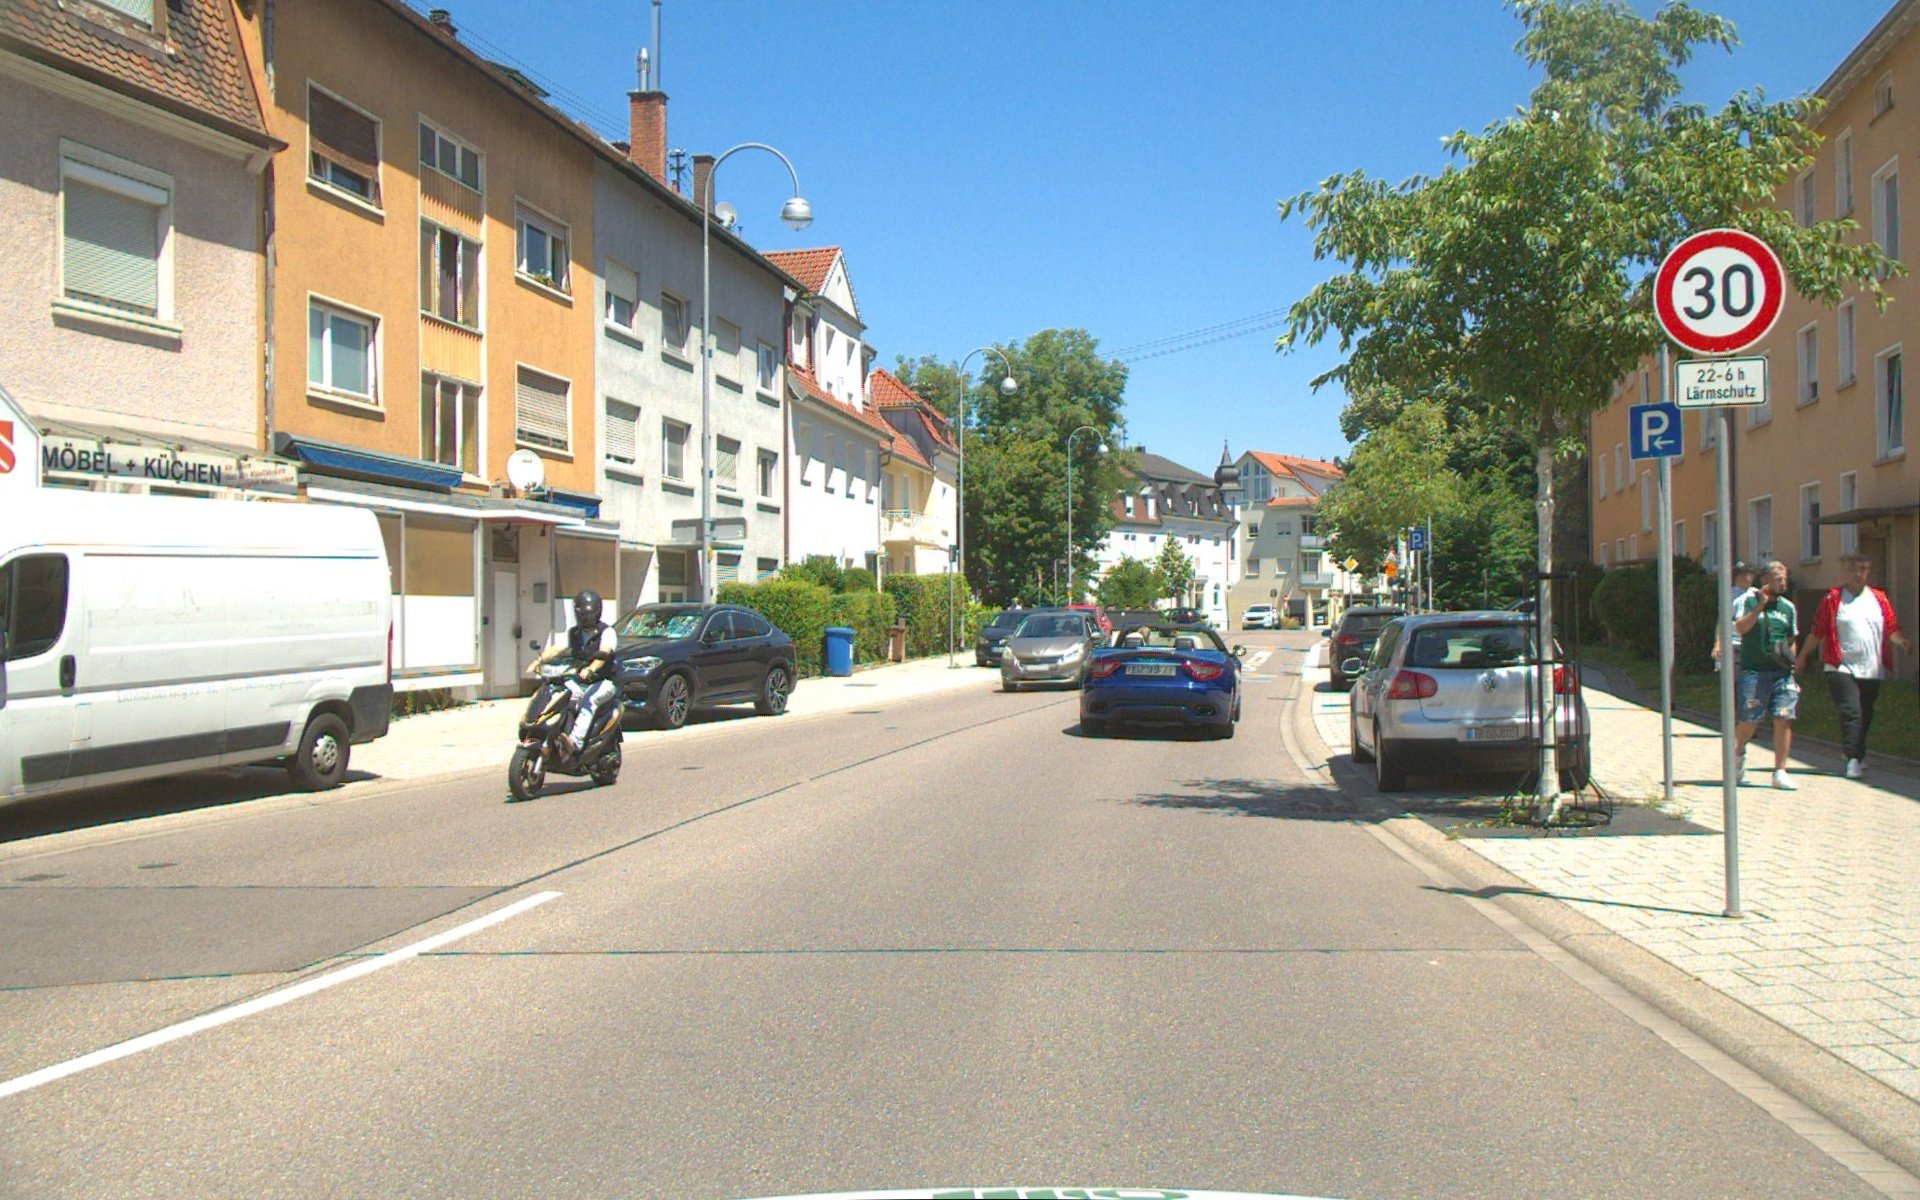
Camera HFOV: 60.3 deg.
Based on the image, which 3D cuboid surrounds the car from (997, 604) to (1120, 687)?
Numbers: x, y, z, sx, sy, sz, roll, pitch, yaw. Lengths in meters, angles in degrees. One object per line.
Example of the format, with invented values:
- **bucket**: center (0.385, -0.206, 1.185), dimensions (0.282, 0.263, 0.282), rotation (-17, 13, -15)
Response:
- **car**: center (1.998, 0.848, 32.456), dimensions (1.694, 1.436, 4.003), rotation (-2, 0, 13)

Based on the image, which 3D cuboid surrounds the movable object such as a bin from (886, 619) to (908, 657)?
- **movable object such as a bin**: center (-1.705, 1.038, 44.940), dimensions (0.457, 1.007, 0.614), rotation (-1, 0, 12)

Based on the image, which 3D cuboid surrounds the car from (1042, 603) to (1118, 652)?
- **car**: center (4.076, 0.880, 55.411), dimensions (1.838, 1.505, 4.742), rotation (2, 0, 13)

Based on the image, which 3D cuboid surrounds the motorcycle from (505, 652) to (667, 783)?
- **motorcycle**: center (-3.218, 0.987, 14.400), dimensions (0.593, 1.018, 1.800), rotation (-1, -1, 15)

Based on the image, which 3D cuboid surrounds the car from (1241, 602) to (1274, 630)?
- **car**: center (18.123, 0.968, 100.562), dimensions (1.837, 1.625, 4.363), rotation (-2, 0, 11)

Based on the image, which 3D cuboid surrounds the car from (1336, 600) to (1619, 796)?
- **car**: center (4.584, 0.819, 15.305), dimensions (1.774, 1.502, 4.510), rotation (-2, -1, 8)

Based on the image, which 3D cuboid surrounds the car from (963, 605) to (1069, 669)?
- **car**: center (1.524, 0.927, 43.322), dimensions (1.750, 1.484, 4.200), rotation (2, 1, 16)

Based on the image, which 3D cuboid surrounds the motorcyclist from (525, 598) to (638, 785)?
- **motorcyclist**: center (-3.249, 0.768, 14.257), dimensions (0.588, 1.551, 0.896), rotation (-1, -1, 14)

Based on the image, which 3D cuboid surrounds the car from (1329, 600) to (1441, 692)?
- **car**: center (7.993, 0.805, 31.452), dimensions (1.794, 1.530, 5.068), rotation (-3, -1, 12)

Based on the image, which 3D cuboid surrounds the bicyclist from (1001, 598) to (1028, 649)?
- **bicyclist**: center (1.859, 0.793, 55.989), dimensions (0.765, 1.688, 0.836), rotation (-1, -1, 11)

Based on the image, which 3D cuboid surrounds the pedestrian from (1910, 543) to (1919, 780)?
- **pedestrian**: center (7.667, 0.465, 12.223), dimensions (0.776, 1.810, 1.009), rotation (-1, -1, 9)

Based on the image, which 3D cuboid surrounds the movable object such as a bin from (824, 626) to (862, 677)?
- **movable object such as a bin**: center (-2.564, 1.127, 36.259), dimensions (0.658, 1.066, 0.653), rotation (-2, 0, 12)

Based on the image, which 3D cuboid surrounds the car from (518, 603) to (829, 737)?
- **car**: center (-3.929, 0.897, 23.738), dimensions (2.042, 1.643, 5.108), rotation (1, 0, 21)

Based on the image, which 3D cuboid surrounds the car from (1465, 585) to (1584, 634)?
- **car**: center (22.737, 0.401, 66.708), dimensions (4.246, 1.871, 1.751), rotation (1, -1, 4)

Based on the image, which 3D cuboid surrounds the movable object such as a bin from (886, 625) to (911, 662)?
- **movable object such as a bin**: center (-1.604, 1.138, 43.305), dimensions (0.483, 0.928, 0.706), rotation (-1, 0, 12)

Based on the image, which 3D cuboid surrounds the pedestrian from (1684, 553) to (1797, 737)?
- **pedestrian**: center (8.285, 0.472, 17.593), dimensions (0.803, 1.886, 0.985), rotation (-1, -1, 9)

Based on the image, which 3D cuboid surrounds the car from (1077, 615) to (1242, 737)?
- **car**: center (2.683, 0.893, 21.353), dimensions (1.830, 1.366, 4.599), rotation (1, 0, 10)

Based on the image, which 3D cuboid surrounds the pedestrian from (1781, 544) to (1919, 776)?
- **pedestrian**: center (7.525, 0.491, 13.890), dimensions (0.771, 1.843, 1.007), rotation (-3, -1, 9)

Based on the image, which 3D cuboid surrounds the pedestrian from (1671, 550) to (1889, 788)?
- **pedestrian**: center (6.535, 0.542, 13.272), dimensions (1.146, 1.763, 1.192), rotation (-3, -2, 8)

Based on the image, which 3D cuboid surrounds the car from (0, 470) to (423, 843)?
- **car**: center (-6.927, 0.364, 12.988), dimensions (2.074, 2.492, 6.121), rotation (1, 0, 16)
